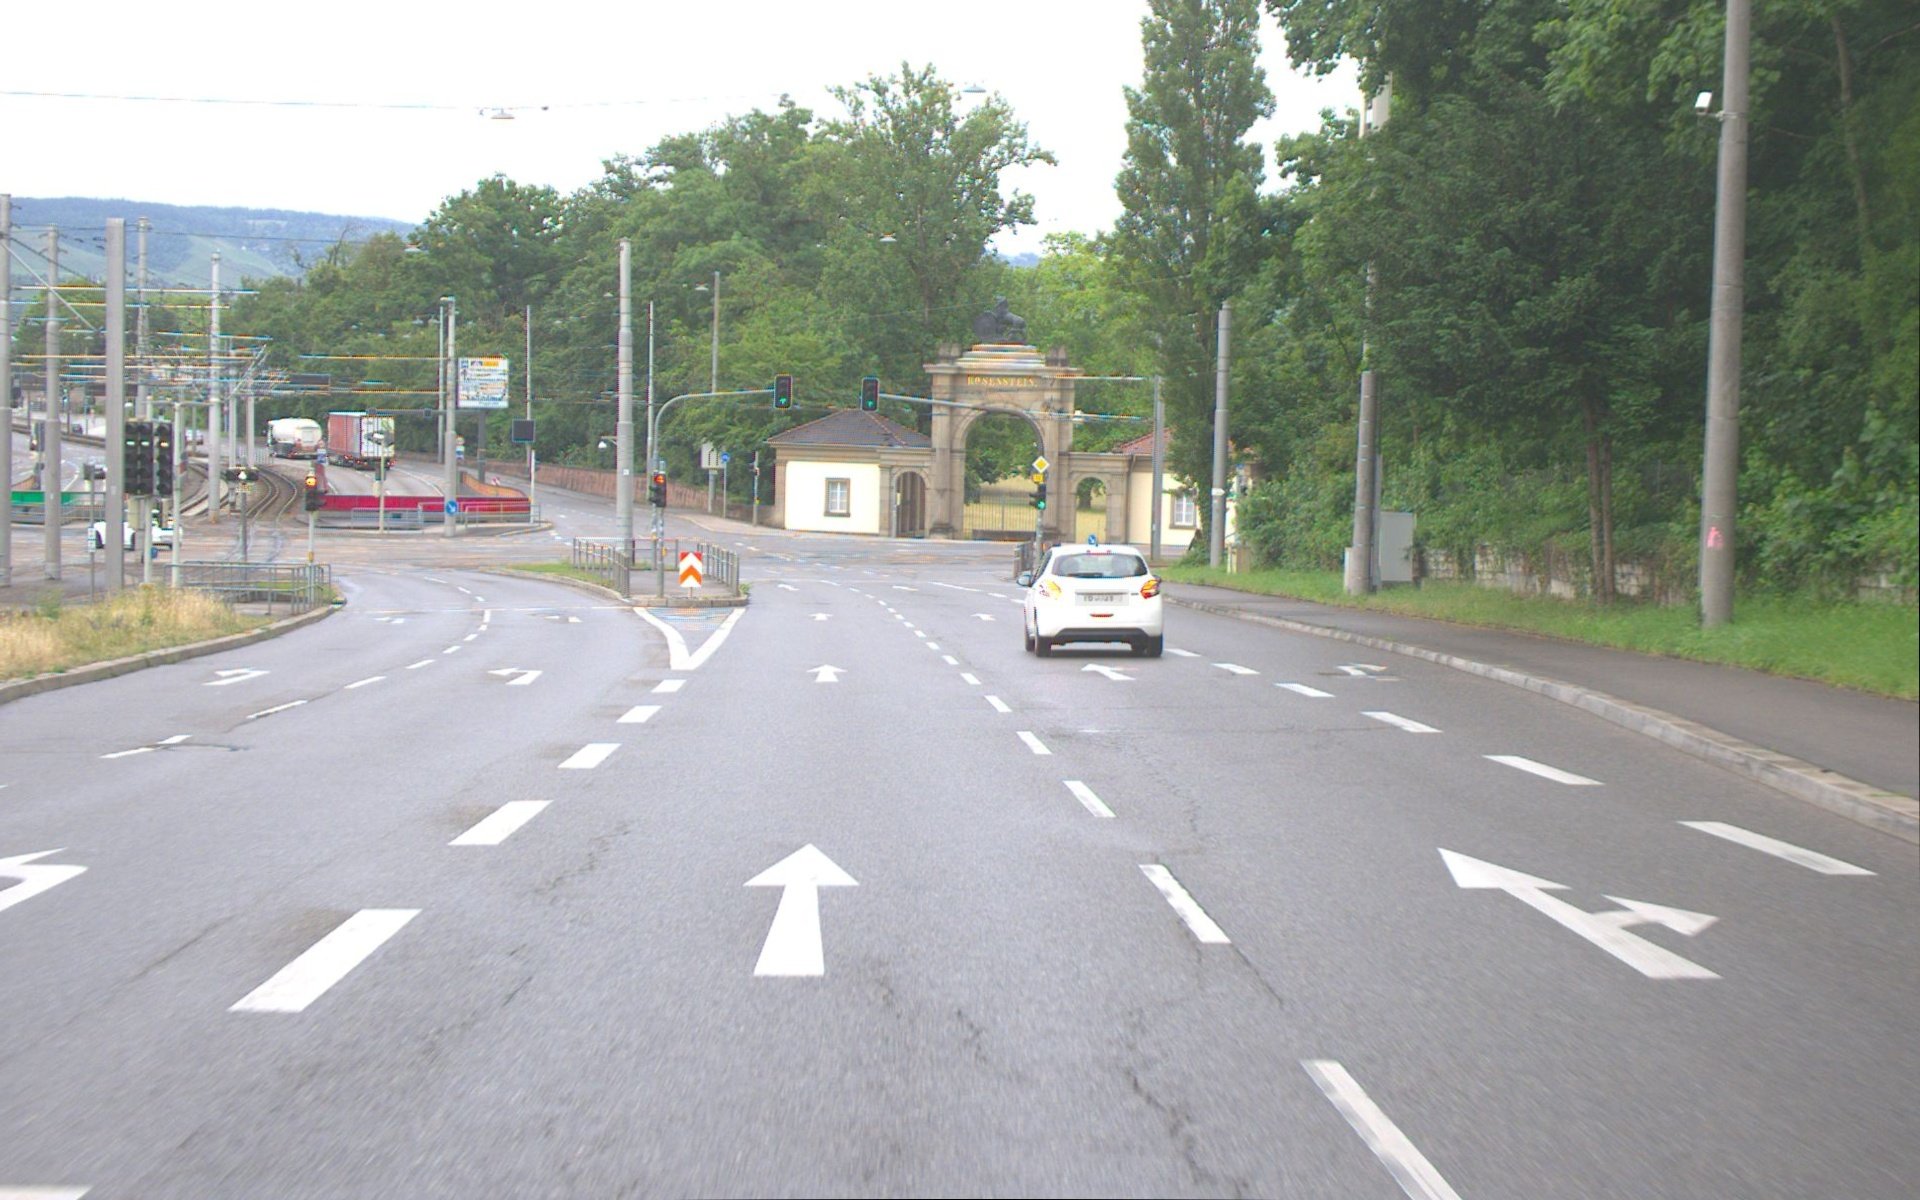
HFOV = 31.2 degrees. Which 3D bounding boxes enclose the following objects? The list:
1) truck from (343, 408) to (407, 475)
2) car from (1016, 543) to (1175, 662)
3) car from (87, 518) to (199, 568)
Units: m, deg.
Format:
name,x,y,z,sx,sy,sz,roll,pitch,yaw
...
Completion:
name,x,y,z,sx,sy,sz,roll,pitch,yaw
truck,-43.133,-11.596,253.045,3.413,4.555,11.291,3,1,-15
car,1.776,0.014,46.280,1.868,1.506,3.900,-1,1,-1
car,-28.810,-2.006,121.189,3.997,1.600,1.824,4,3,41
